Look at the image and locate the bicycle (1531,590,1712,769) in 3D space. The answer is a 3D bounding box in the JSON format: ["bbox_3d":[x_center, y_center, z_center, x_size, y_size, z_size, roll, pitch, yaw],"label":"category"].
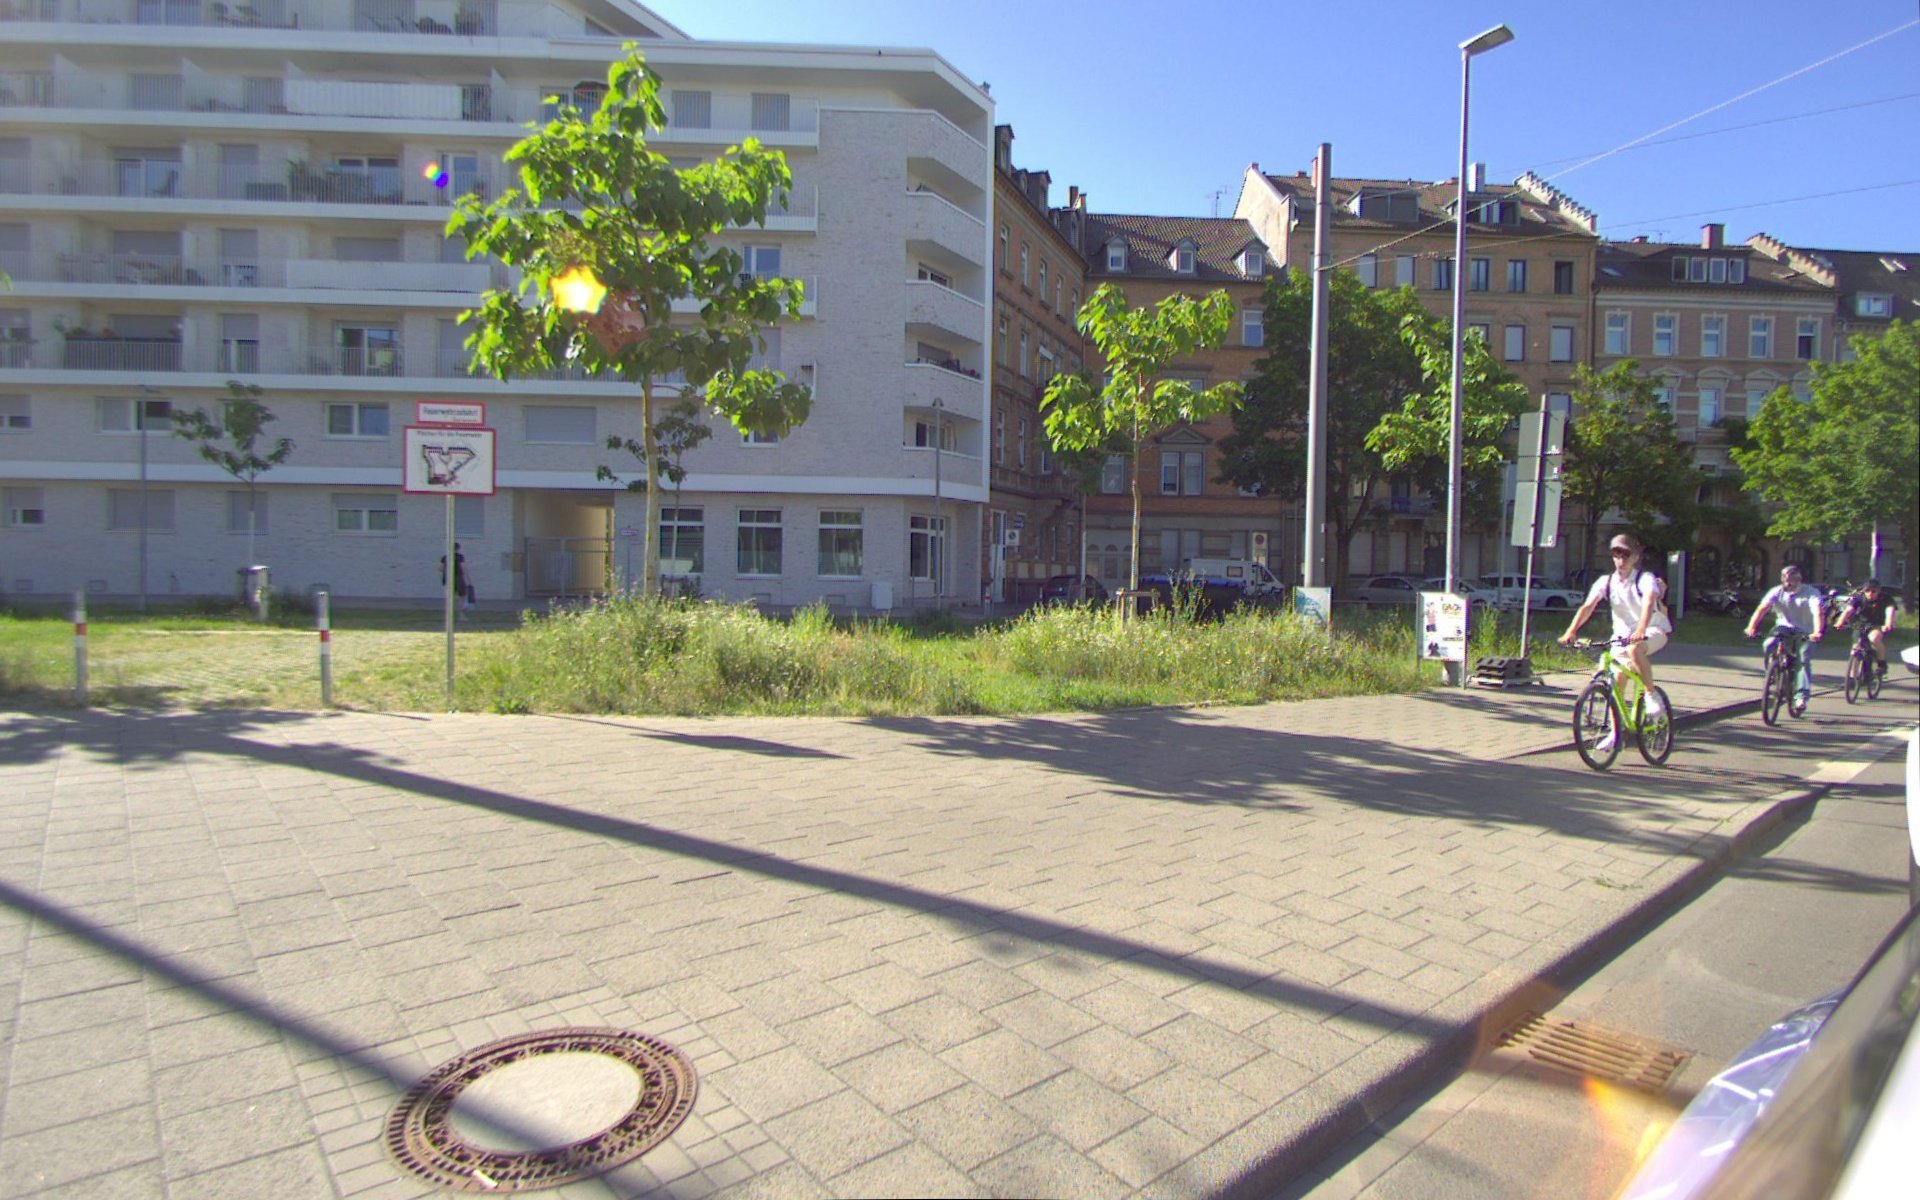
[{"bbox_3d":[5.614,0.606,8.556,1.717,1.343,0.716,0,2,-38],"label":"bicycle"}]

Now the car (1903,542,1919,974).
[{"bbox_3d":[5.870,0.608,4.722,4.323,1.667,1.840,0,0,-43],"label":"car"}]

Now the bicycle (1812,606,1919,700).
[{"bbox_3d":[12.849,0.704,14.186,2.110,1.212,0.639,0,1,-28],"label":"bicycle"}]

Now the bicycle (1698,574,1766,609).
[{"bbox_3d":[29.079,-0.319,38.160,0.649,1.284,2.208,0,0,-9],"label":"bicycle"}]

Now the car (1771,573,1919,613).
[{"bbox_3d":[34.683,-0.320,39.601,1.651,1.423,4.324,-1,3,-38],"label":"car"}]

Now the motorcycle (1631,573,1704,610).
[{"bbox_3d":[26.152,-0.321,37.476,0.649,1.339,2.208,0,0,-23],"label":"motorcycle"}]

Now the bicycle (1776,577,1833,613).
[{"bbox_3d":[30.939,-0.184,37.118,0.653,1.284,2.196,0,0,12],"label":"bicycle"}]

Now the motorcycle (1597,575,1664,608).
[{"bbox_3d":[26.695,-0.336,40.364,0.649,1.300,2.324,0,0,-18],"label":"motorcycle"}]

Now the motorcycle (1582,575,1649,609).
[{"bbox_3d":[26.024,-0.328,40.233,0.649,1.293,2.324,0,0,-18],"label":"motorcycle"}]

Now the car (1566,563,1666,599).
[{"bbox_3d":[30.872,-0.921,47.658,3.631,1.607,1.552,1,2,0],"label":"car"}]

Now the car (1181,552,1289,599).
[{"bbox_3d":[12.658,-1.156,46.789,4.416,2.062,2.054,1,2,0],"label":"car"}]

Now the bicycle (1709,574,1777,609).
[{"bbox_3d":[29.722,-0.325,38.471,0.649,1.284,2.208,0,0,-9],"label":"bicycle"}]

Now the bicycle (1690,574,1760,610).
[{"bbox_3d":[28.368,-0.310,37.572,0.649,1.284,2.208,0,0,-11],"label":"bicycle"}]

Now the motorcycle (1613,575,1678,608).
[{"bbox_3d":[27.486,-0.335,40.619,0.649,1.284,2.209,0,0,-18],"label":"motorcycle"}]

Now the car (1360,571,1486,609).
[{"bbox_3d":[17.347,-0.423,38.114,1.648,1.267,4.170,0,3,-28],"label":"car"}]

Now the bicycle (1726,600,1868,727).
[{"bbox_3d":[9.819,0.685,11.842,2.114,1.317,0.759,-1,2,-36],"label":"bicycle"}]

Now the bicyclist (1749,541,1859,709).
[{"bbox_3d":[9.920,0.259,11.905,0.735,1.889,0.810,-1,2,-35],"label":"bicyclist"}]

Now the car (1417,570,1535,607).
[{"bbox_3d":[19.670,-0.468,38.724,1.648,1.267,3.709,0,3,-28],"label":"car"}]

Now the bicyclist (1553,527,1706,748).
[{"bbox_3d":[5.689,0.283,8.600,1.074,1.747,0.716,0,2,-38],"label":"bicyclist"}]

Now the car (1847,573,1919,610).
[{"bbox_3d":[37.820,-0.328,39.970,1.649,1.423,3.832,-1,3,-32],"label":"car"}]

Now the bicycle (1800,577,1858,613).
[{"bbox_3d":[32.033,-0.192,37.342,0.653,1.284,2.196,0,0,12],"label":"bicycle"}]

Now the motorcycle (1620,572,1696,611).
[{"bbox_3d":[25.336,-0.306,36.787,0.650,1.347,2.207,0,0,-28],"label":"motorcycle"}]

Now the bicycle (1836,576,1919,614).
[{"bbox_3d":[31.628,-0.165,34.771,2.180,1.284,0.657,0,0,25],"label":"bicycle"}]

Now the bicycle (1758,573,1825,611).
[{"bbox_3d":[29.272,-0.291,35.681,0.651,1.284,2.202,0,0,4],"label":"bicycle"}]

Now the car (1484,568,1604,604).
[{"bbox_3d":[22.327,-0.579,38.780,1.513,1.267,3.700,-1,3,-39],"label":"car"}]

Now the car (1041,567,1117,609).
[{"bbox_3d":[4.564,-0.507,38.303,1.811,1.444,4.359,1,2,21],"label":"car"}]

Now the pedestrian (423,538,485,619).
[{"bbox_3d":[-11.152,-0.490,22.331,0.829,1.717,0.985,2,2,2],"label":"pedestrian"}]

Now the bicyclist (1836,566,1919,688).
[{"bbox_3d":[12.930,0.354,14.203,0.952,1.649,0.632,0,1,-29],"label":"bicyclist"}]
